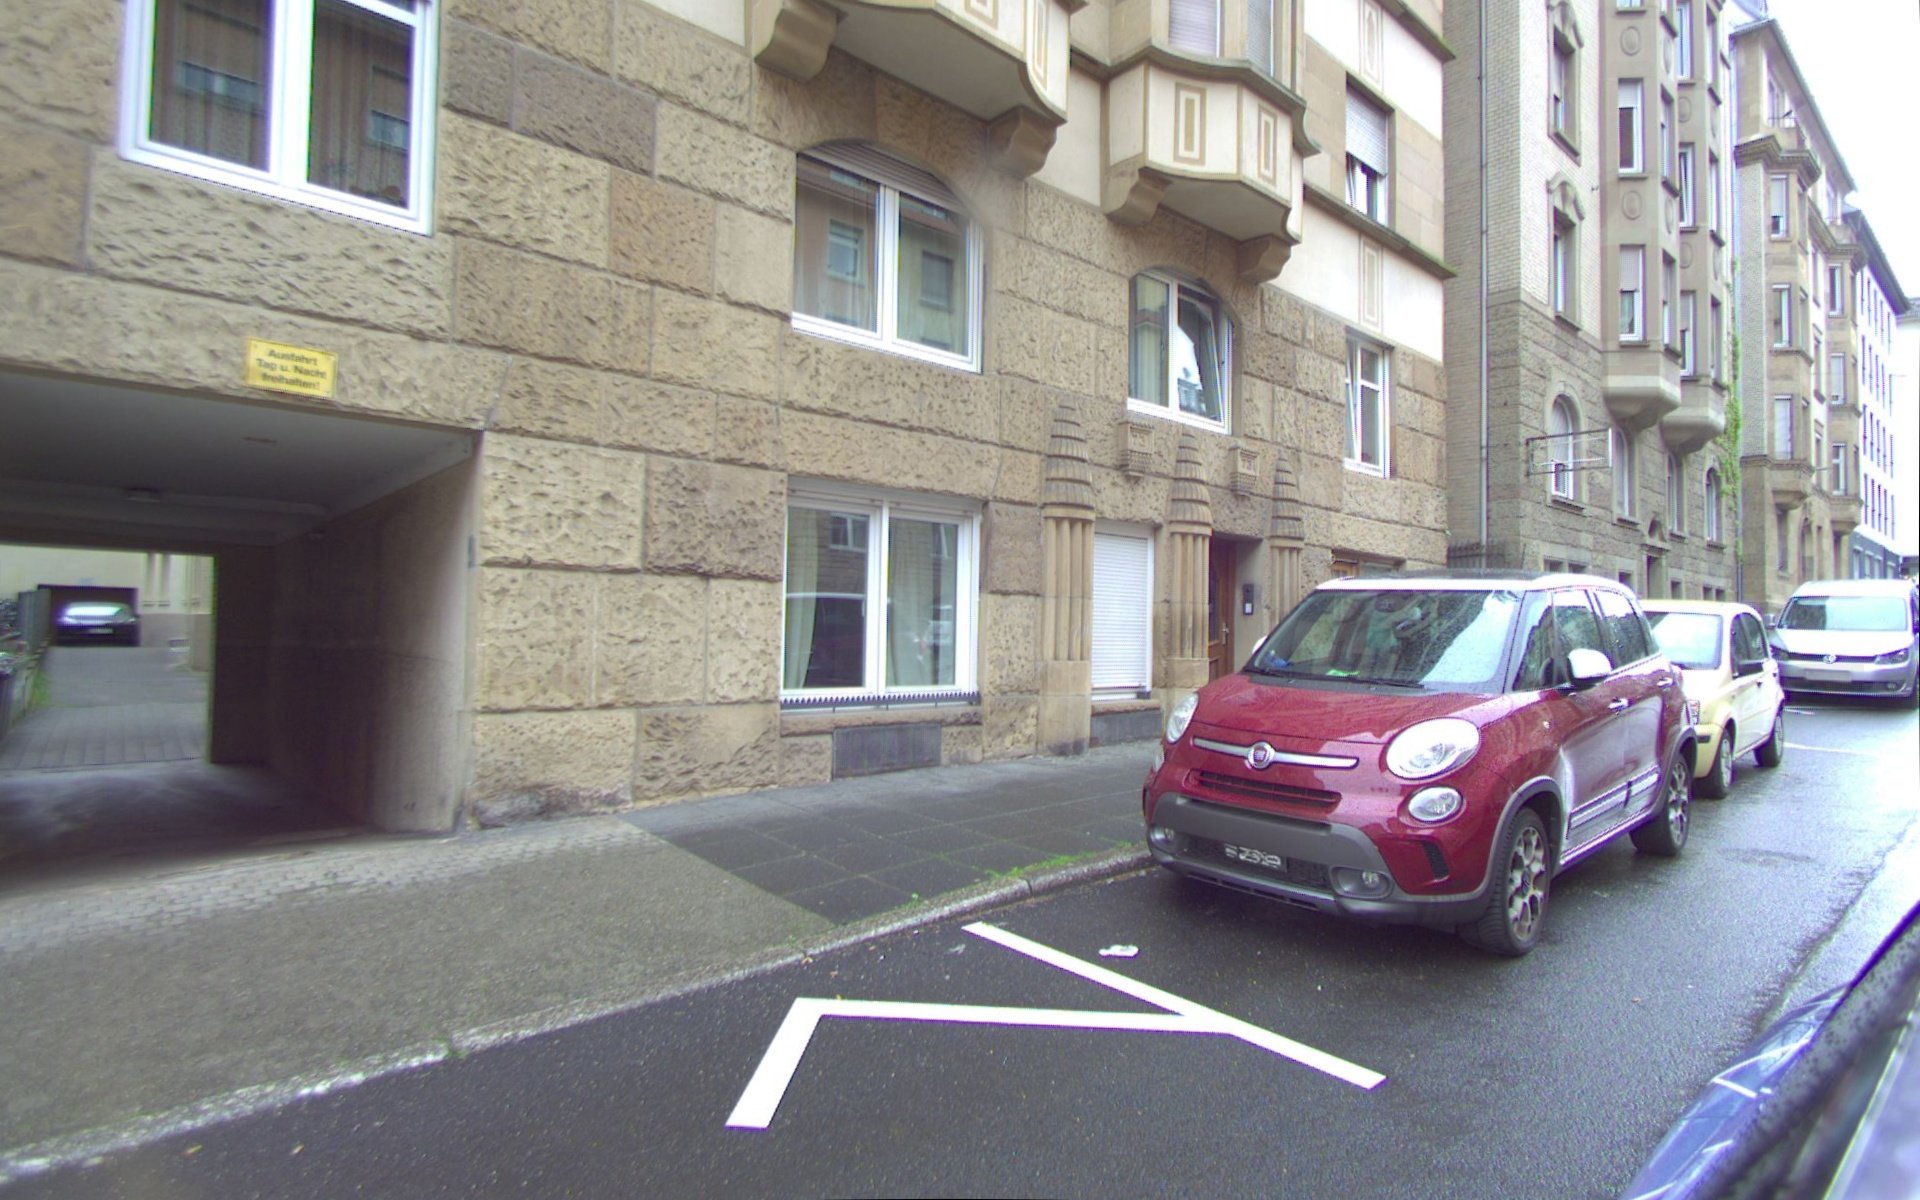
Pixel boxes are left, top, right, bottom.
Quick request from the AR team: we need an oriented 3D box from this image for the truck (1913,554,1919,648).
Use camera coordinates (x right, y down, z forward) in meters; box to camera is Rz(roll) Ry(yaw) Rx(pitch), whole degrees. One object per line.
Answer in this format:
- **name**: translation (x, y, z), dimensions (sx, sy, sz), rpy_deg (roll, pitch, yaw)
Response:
- **truck**: translation (29.162, 0.021, 28.878), dimensions (6.036, 2.568, 2.233), rpy_deg (0, -1, -41)

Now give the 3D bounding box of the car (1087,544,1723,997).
- **car**: translation (2.679, 0.612, 5.628), dimensions (3.932, 1.619, 1.804), rpy_deg (0, -1, -42)

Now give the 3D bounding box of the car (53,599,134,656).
- **car**: translation (-25.186, 0.755, 29.452), dimensions (1.692, 1.541, 4.098), rpy_deg (0, -1, -41)

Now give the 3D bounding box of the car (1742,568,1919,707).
- **car**: translation (13.763, 0.499, 15.508), dimensions (4.380, 1.825, 1.966), rpy_deg (0, -1, -41)

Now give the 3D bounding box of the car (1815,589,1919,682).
- **car**: translation (17.171, 0.599, 18.499), dimensions (3.934, 1.549, 1.994), rpy_deg (0, -1, -45)

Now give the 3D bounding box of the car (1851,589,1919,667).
- **car**: translation (20.476, 0.546, 21.439), dimensions (3.860, 1.549, 1.889), rpy_deg (0, -1, -41)

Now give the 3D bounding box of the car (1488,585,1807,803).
- **car**: translation (6.200, 0.675, 8.990), dimensions (3.517, 1.549, 1.578), rpy_deg (0, -1, -43)
